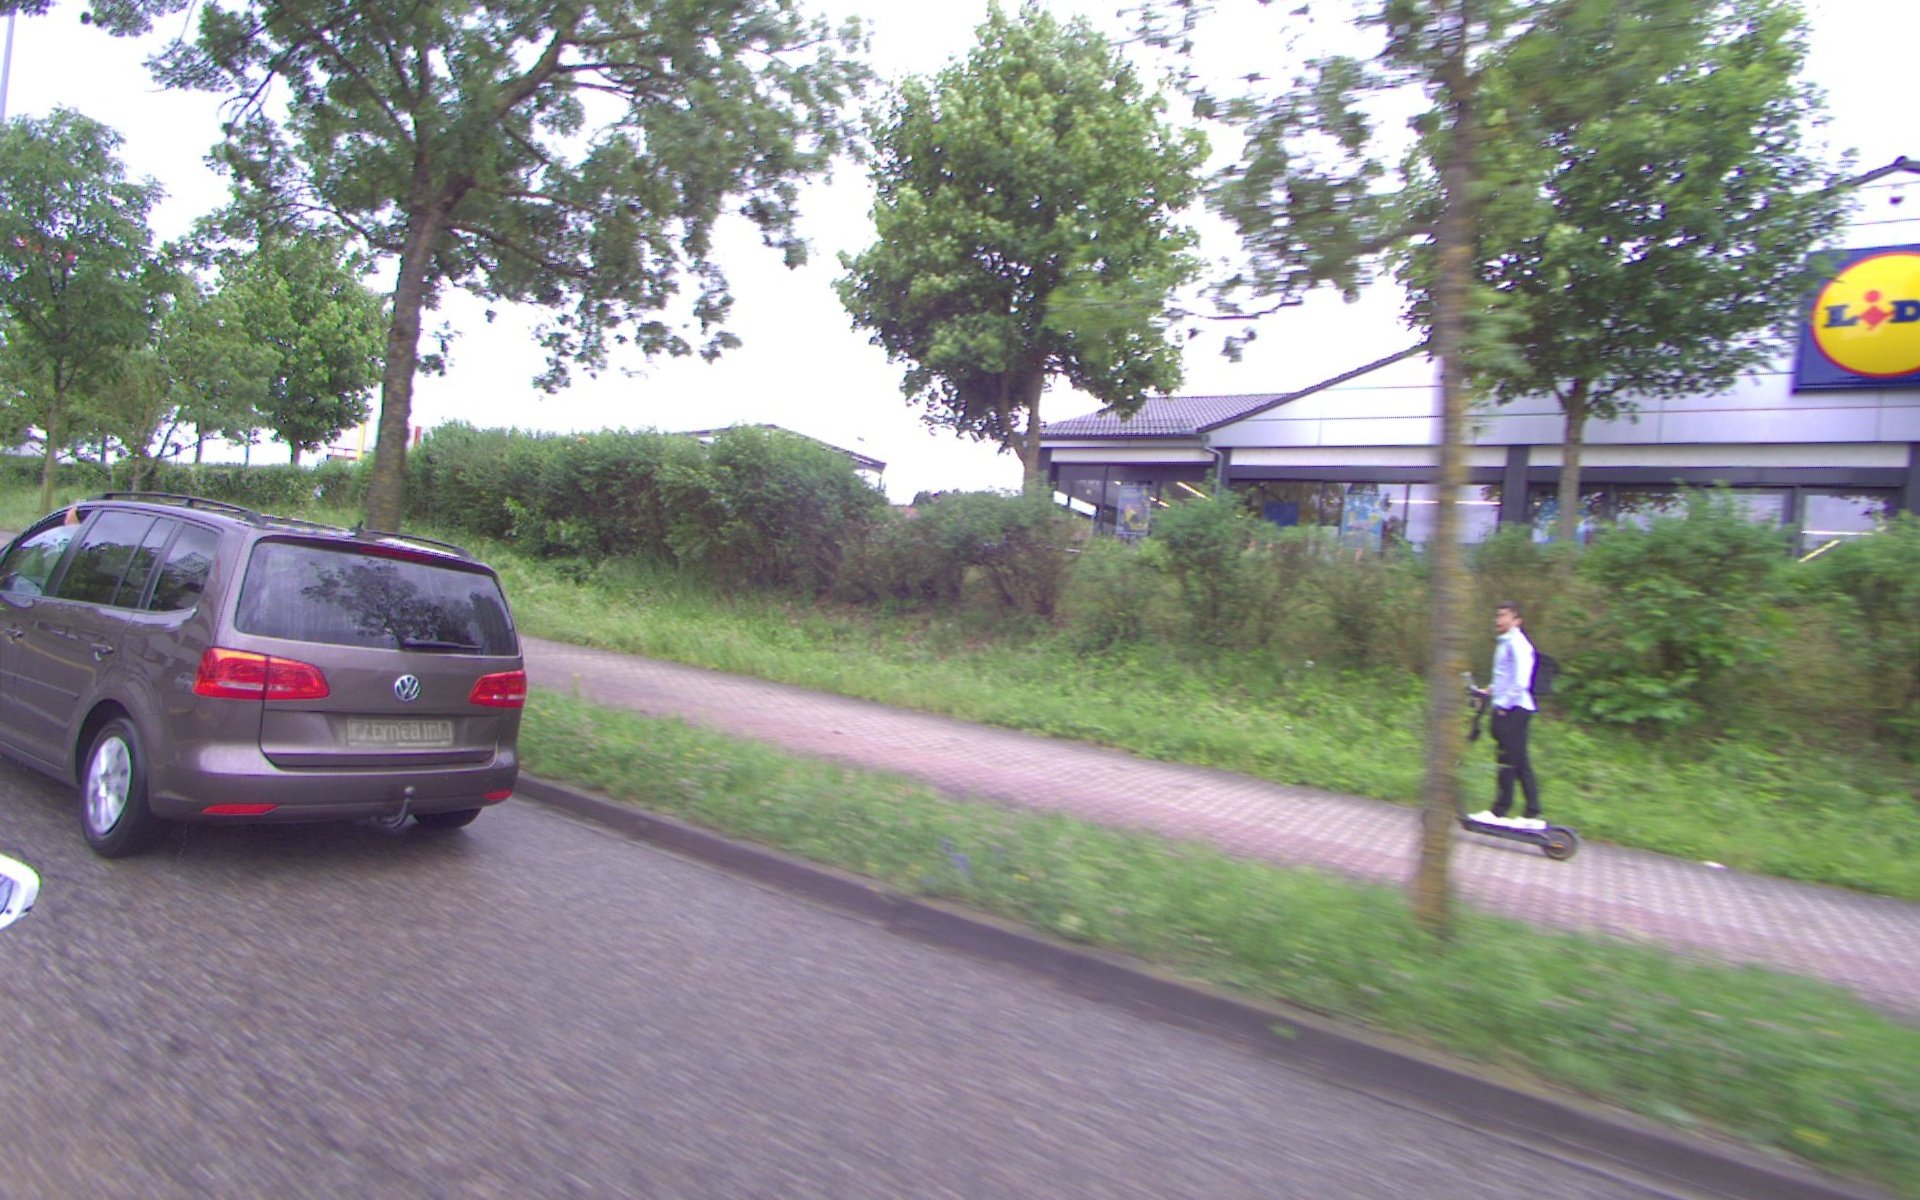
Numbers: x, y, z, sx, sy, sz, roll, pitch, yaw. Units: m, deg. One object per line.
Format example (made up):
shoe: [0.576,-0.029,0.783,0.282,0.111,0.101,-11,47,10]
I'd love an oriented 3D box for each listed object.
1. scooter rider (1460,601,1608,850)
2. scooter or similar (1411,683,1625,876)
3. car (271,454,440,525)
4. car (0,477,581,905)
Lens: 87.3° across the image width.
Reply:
scooter rider: [4.694,0.981,8.227,0.844,1.844,0.695,6,2,33]
scooter or similar: [4.573,1.412,8.285,1.378,1.280,0.695,6,2,33]
car: [-24.616,-4.460,41.213,2.085,2.170,5.613,6,2,27]
car: [-4.341,0.282,5.761,4.147,1.599,1.689,7,-2,31]
